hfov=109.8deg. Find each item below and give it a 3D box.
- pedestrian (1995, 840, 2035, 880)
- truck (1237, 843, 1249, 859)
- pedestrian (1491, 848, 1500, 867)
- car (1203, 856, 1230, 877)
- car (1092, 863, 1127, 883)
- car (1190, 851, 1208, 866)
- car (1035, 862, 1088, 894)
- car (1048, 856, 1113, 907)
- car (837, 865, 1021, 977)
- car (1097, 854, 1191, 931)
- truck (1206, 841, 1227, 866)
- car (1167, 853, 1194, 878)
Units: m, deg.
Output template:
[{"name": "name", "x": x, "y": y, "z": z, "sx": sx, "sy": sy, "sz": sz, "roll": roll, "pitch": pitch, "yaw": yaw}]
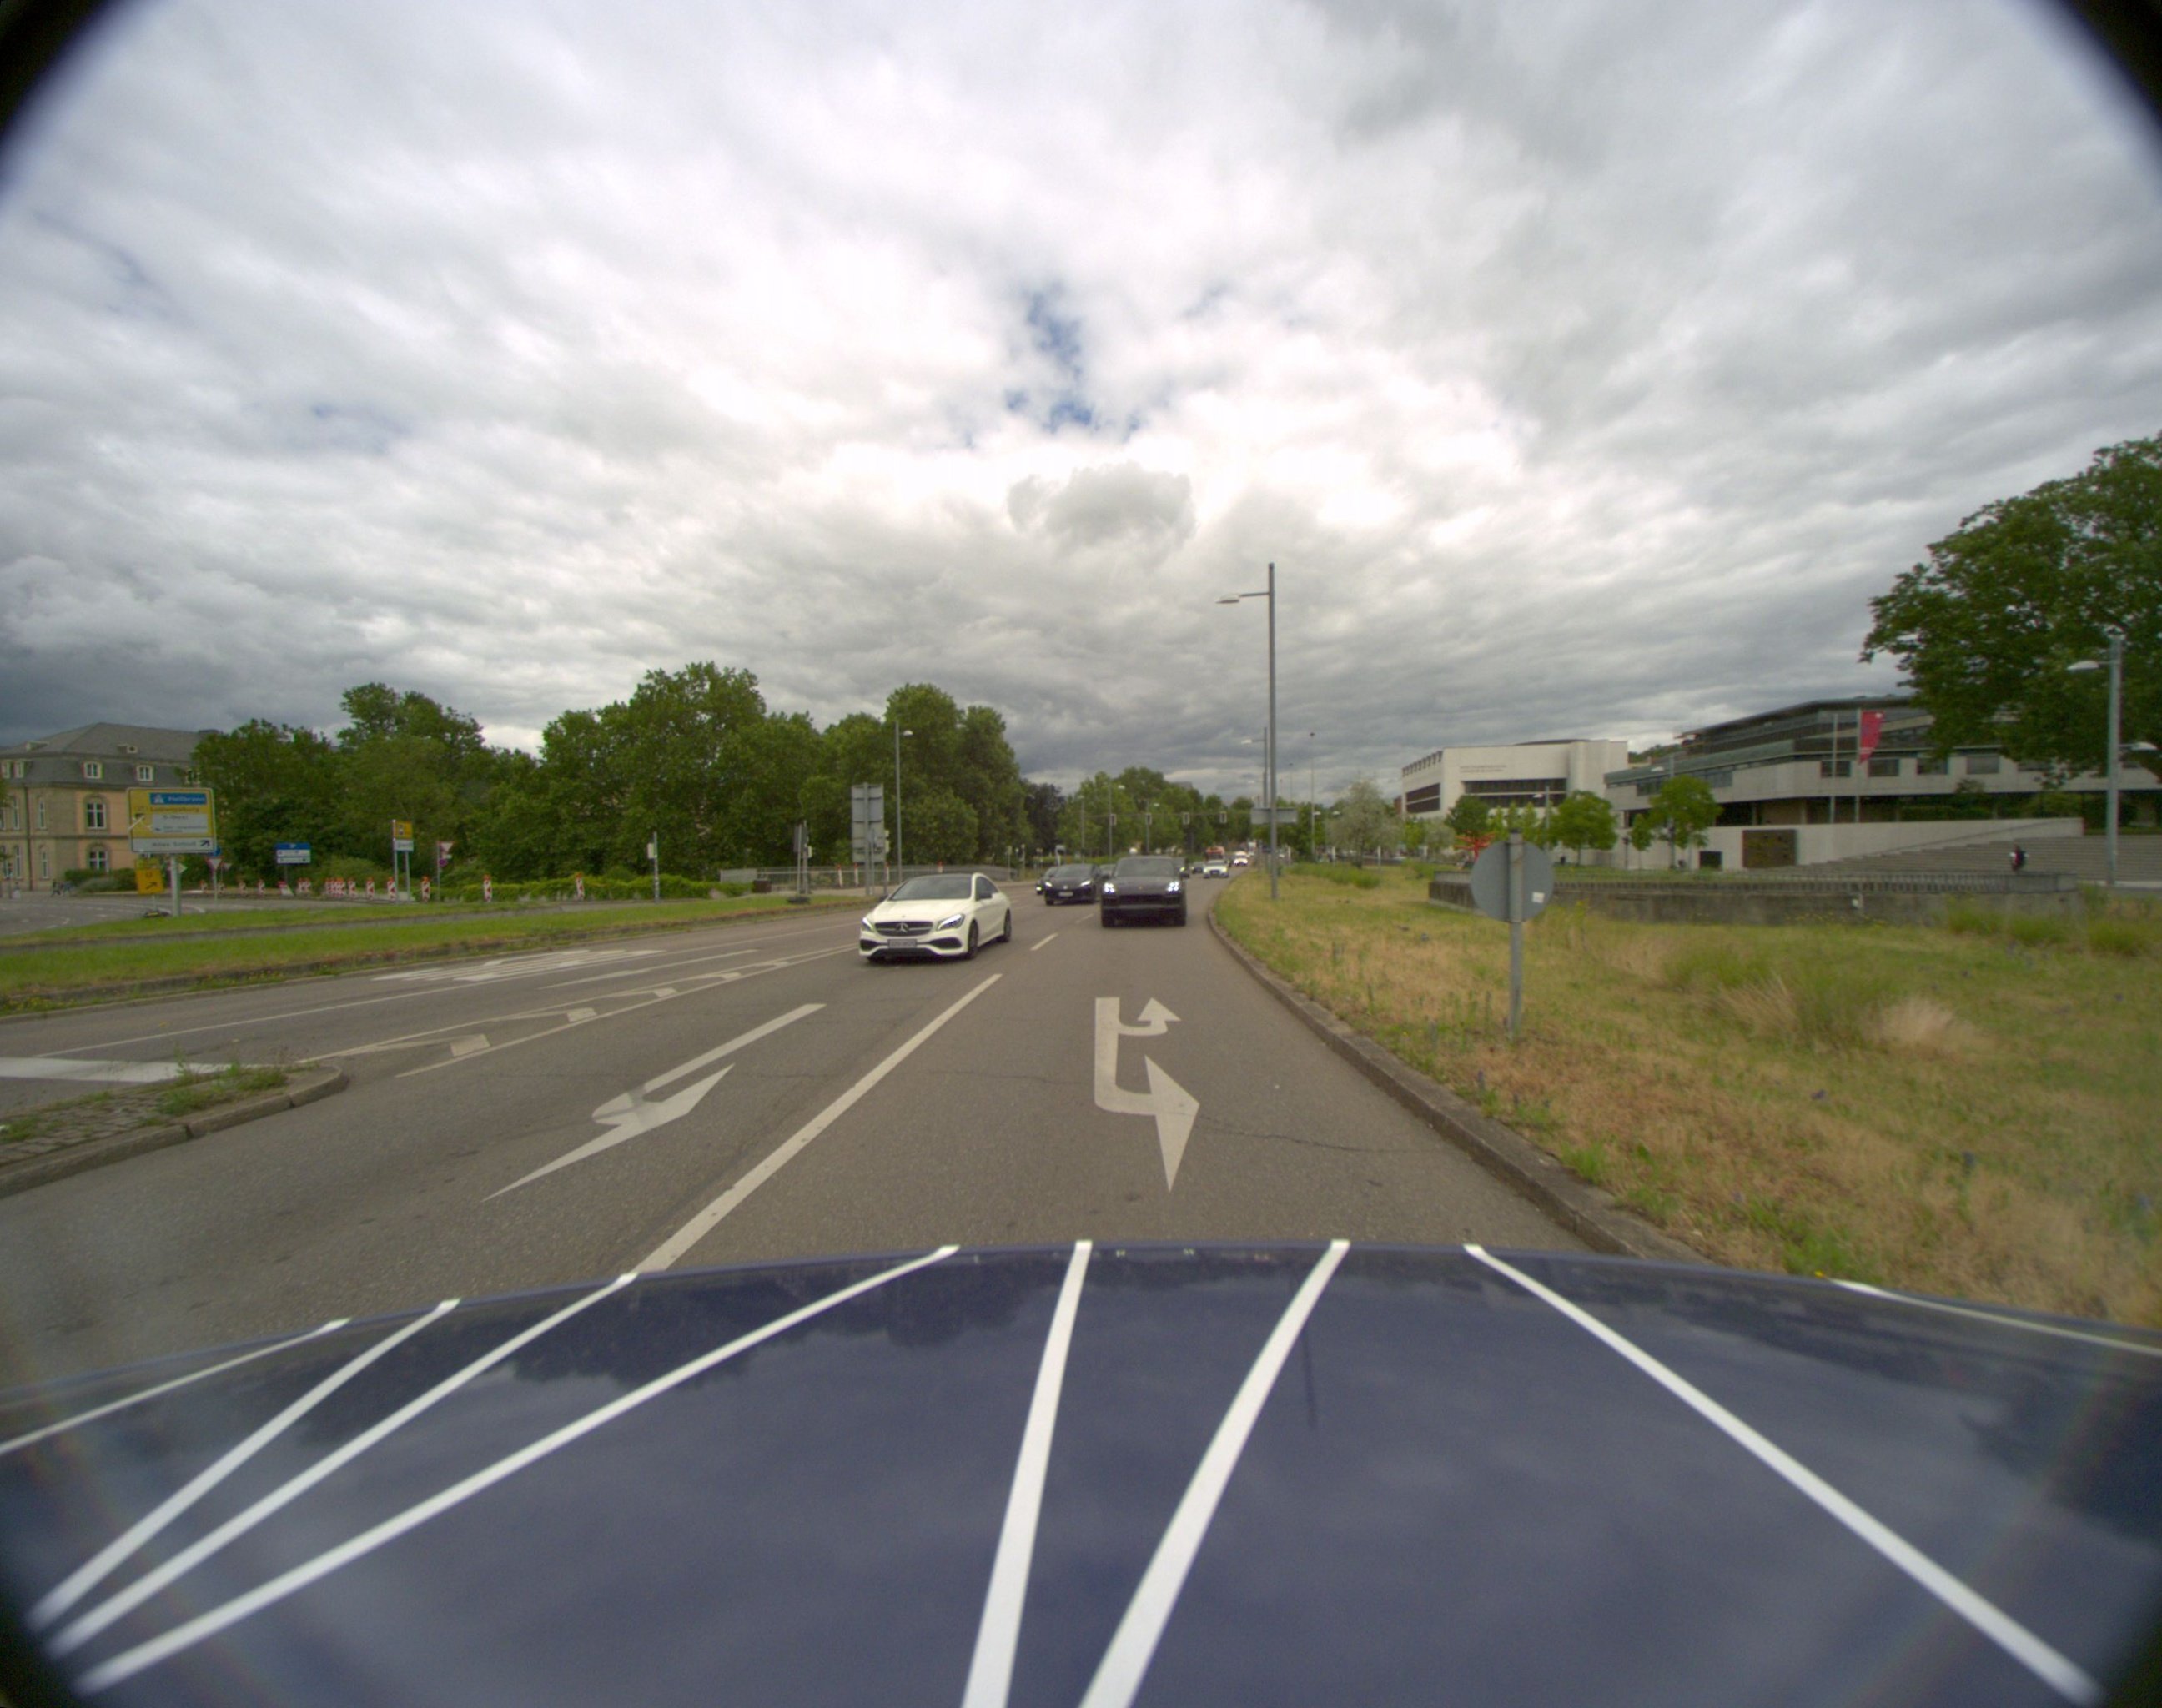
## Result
[{"name": "pedestrian", "x": 41.447, "y": 0.249, "z": 33.728, "sx": 0.682, "sy": 1.738, "sz": 0.891, "roll": -1, "pitch": 1, "yaw": 7}, {"name": "truck", "x": 29.373, "y": -0.487, "z": 137.924, "sx": 1.953, "sy": 2.767, "sz": 5.794, "roll": -1, "pitch": 0, "yaw": 13}, {"name": "pedestrian", "x": 35.715, "y": 0.334, "z": 65.492, "sx": 0.446, "sy": 1.625, "sz": 0.470, "roll": -2, "pitch": 1, "yaw": -17}, {"name": "car", "x": 11.031, "y": 0.997, "z": 61.887, "sx": 2.093, "sy": 1.600, "sz": 4.415, "roll": 0, "pitch": 1, "yaw": 11}, {"name": "car", "x": 2.050, "y": 1.342, "z": 54.076, "sx": 1.997, "sy": 1.278, "sz": 4.002, "roll": -2, "pitch": 0, "yaw": 8}, {"name": "car", "x": 13.740, "y": 0.527, "z": 88.576, "sx": 1.858, "sy": 1.728, "sz": 3.743, "roll": -2, "pitch": 0, "yaw": 11}, {"name": "car", "x": -0.950, "y": 1.192, "z": 39.176, "sx": 1.997, "sy": 1.455, "sz": 4.002, "roll": -2, "pitch": 0, "yaw": 8}, {"name": "car", "x": 0.080, "y": 0.978, "z": 29.266, "sx": 1.997, "sy": 1.538, "sz": 4.569, "roll": -1, "pitch": 3, "yaw": 6}, {"name": "car", "x": -2.459, "y": 1.041, "z": 13.646, "sx": 1.869, "sy": 1.560, "sz": 4.654, "roll": -2, "pitch": 0, "yaw": 6}, {"name": "car", "x": 1.734, "y": 0.842, "z": 19.057, "sx": 2.003, "sy": 1.628, "sz": 5.024, "roll": -2, "pitch": 0, "yaw": 8}, {"name": "truck", "x": 20.425, "y": -0.095, "z": 113.901, "sx": 2.724, "sy": 3.595, "sz": 9.186, "roll": -1, "pitch": 0, "yaw": 12}, {"name": "car", "x": 8.518, "y": 0.964, "z": 64.765, "sx": 1.857, "sy": 1.976, "sz": 4.645, "roll": 0, "pitch": 1, "yaw": 12}]
